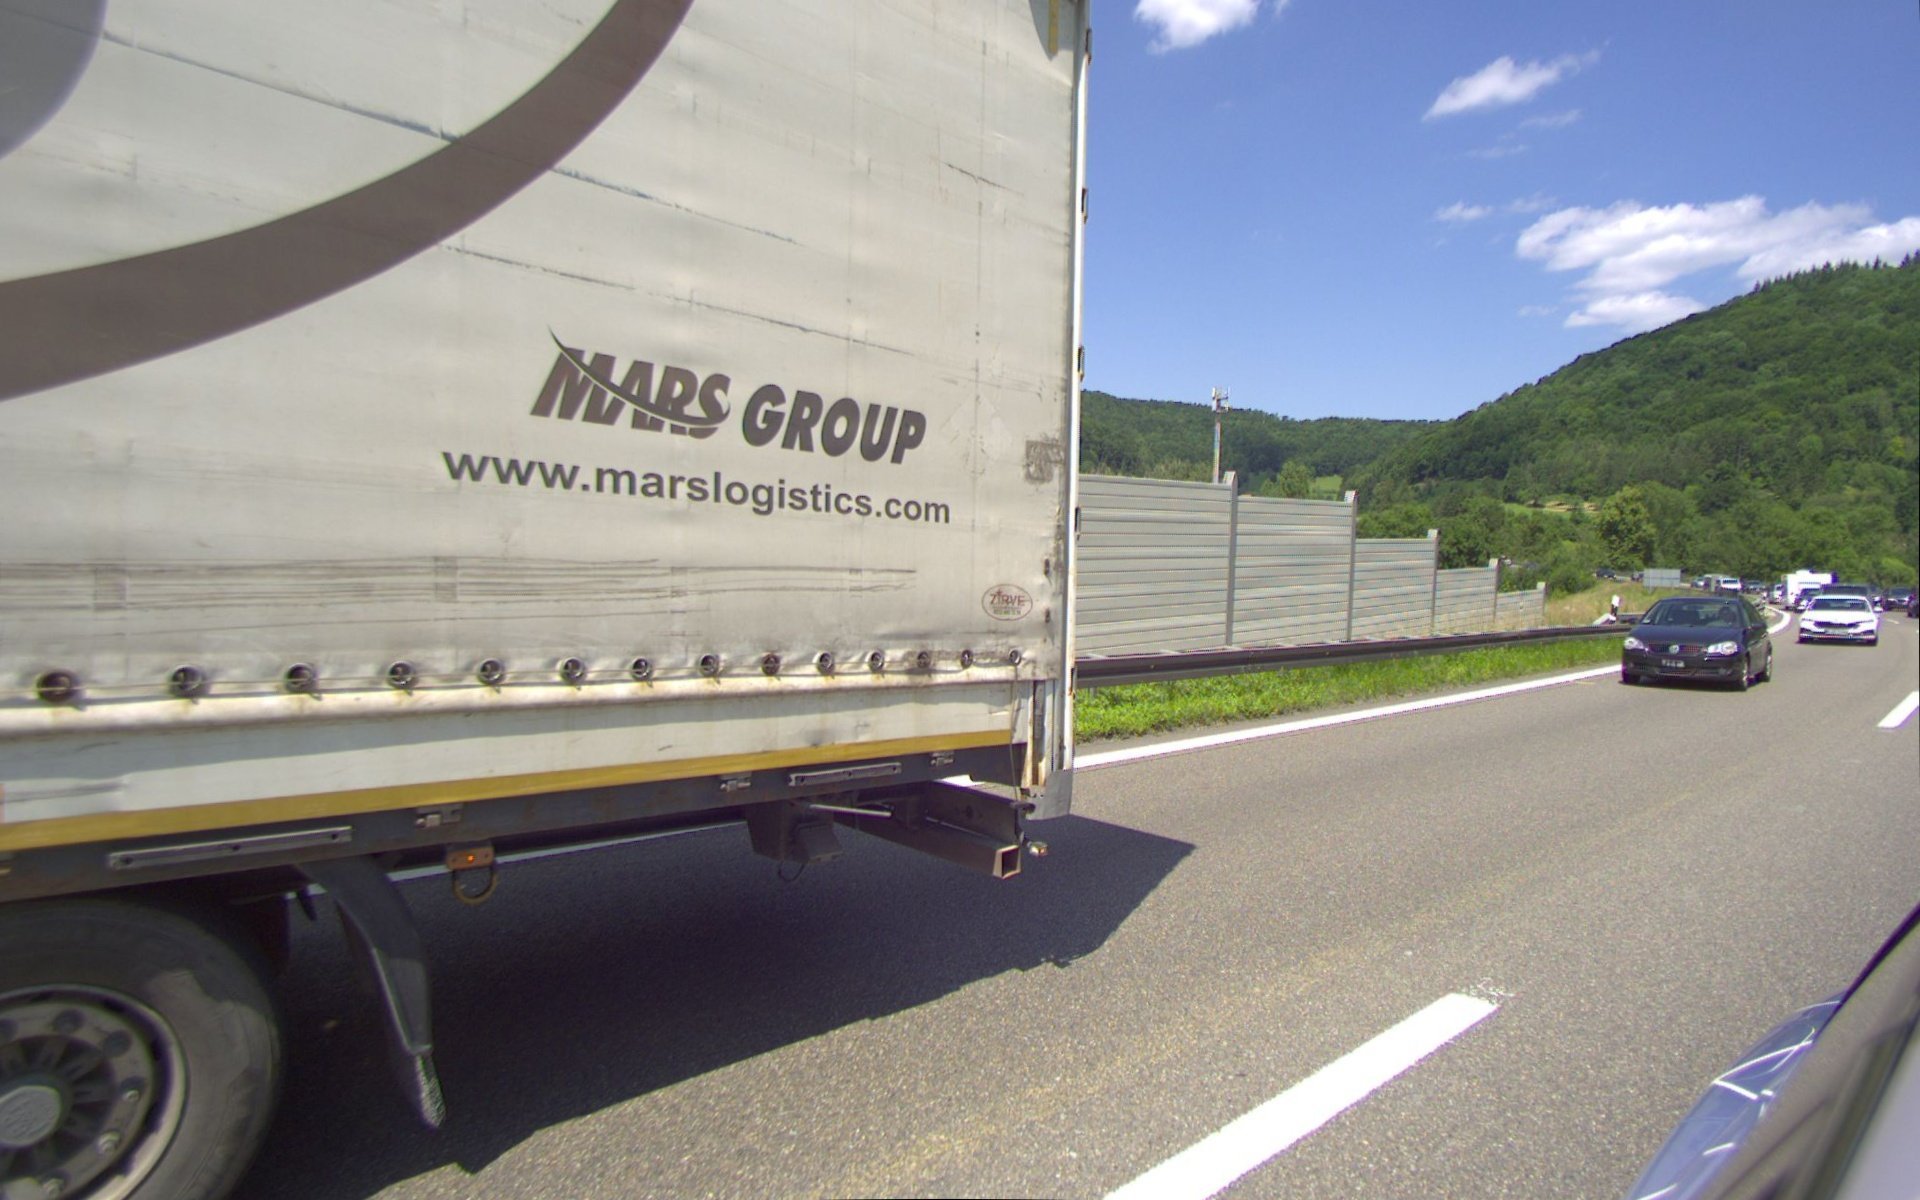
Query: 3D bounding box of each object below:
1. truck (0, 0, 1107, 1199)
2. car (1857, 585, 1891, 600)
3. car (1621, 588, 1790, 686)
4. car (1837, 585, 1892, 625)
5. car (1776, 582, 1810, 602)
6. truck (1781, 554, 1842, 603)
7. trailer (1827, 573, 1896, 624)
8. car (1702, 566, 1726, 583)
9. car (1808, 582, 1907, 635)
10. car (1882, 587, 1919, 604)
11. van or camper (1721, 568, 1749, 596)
[{"bbox_3d":[-5.430,-0.750,0.397,13.502,4.118,2.731,-1,1,-41],"label":"truck"},{"bbox_3d":[70.585,-0.608,78.161,1.482,1.123,3.175,0,1,34],"label":"car"},{"bbox_3d":[12.463,0.517,16.843,3.775,1.440,1.693,-1,1,-44],"label":"car"},{"bbox_3d":[35.187,0.207,39.434,1.484,1.400,3.682,4,2,41],"label":"car"},{"bbox_3d":[69.376,-0.685,84.335,1.687,1.552,3.637,-2,-1,33],"label":"car"},{"bbox_3d":[58.530,-1.445,69.698,2.588,3.147,6.770,-2,-1,36],"label":"truck"},{"bbox_3d":[37.650,-0.089,42.363,1.992,1.994,3.941,2,2,40],"label":"trailer"},{"bbox_3d":[92.950,-3.128,124.829,1.984,2.039,3.955,0,1,32],"label":"car"},{"bbox_3d":[26.907,0.292,30.309,3.660,1.449,1.903,1,-4,-44],"label":"car"},{"bbox_3d":[62.769,-0.308,67.529,1.483,1.123,3.171,0,1,37],"label":"car"},{"bbox_3d":[88.984,-2.085,116.274,1.895,3.065,4.822,1,1,30],"label":"van or camper"}]
